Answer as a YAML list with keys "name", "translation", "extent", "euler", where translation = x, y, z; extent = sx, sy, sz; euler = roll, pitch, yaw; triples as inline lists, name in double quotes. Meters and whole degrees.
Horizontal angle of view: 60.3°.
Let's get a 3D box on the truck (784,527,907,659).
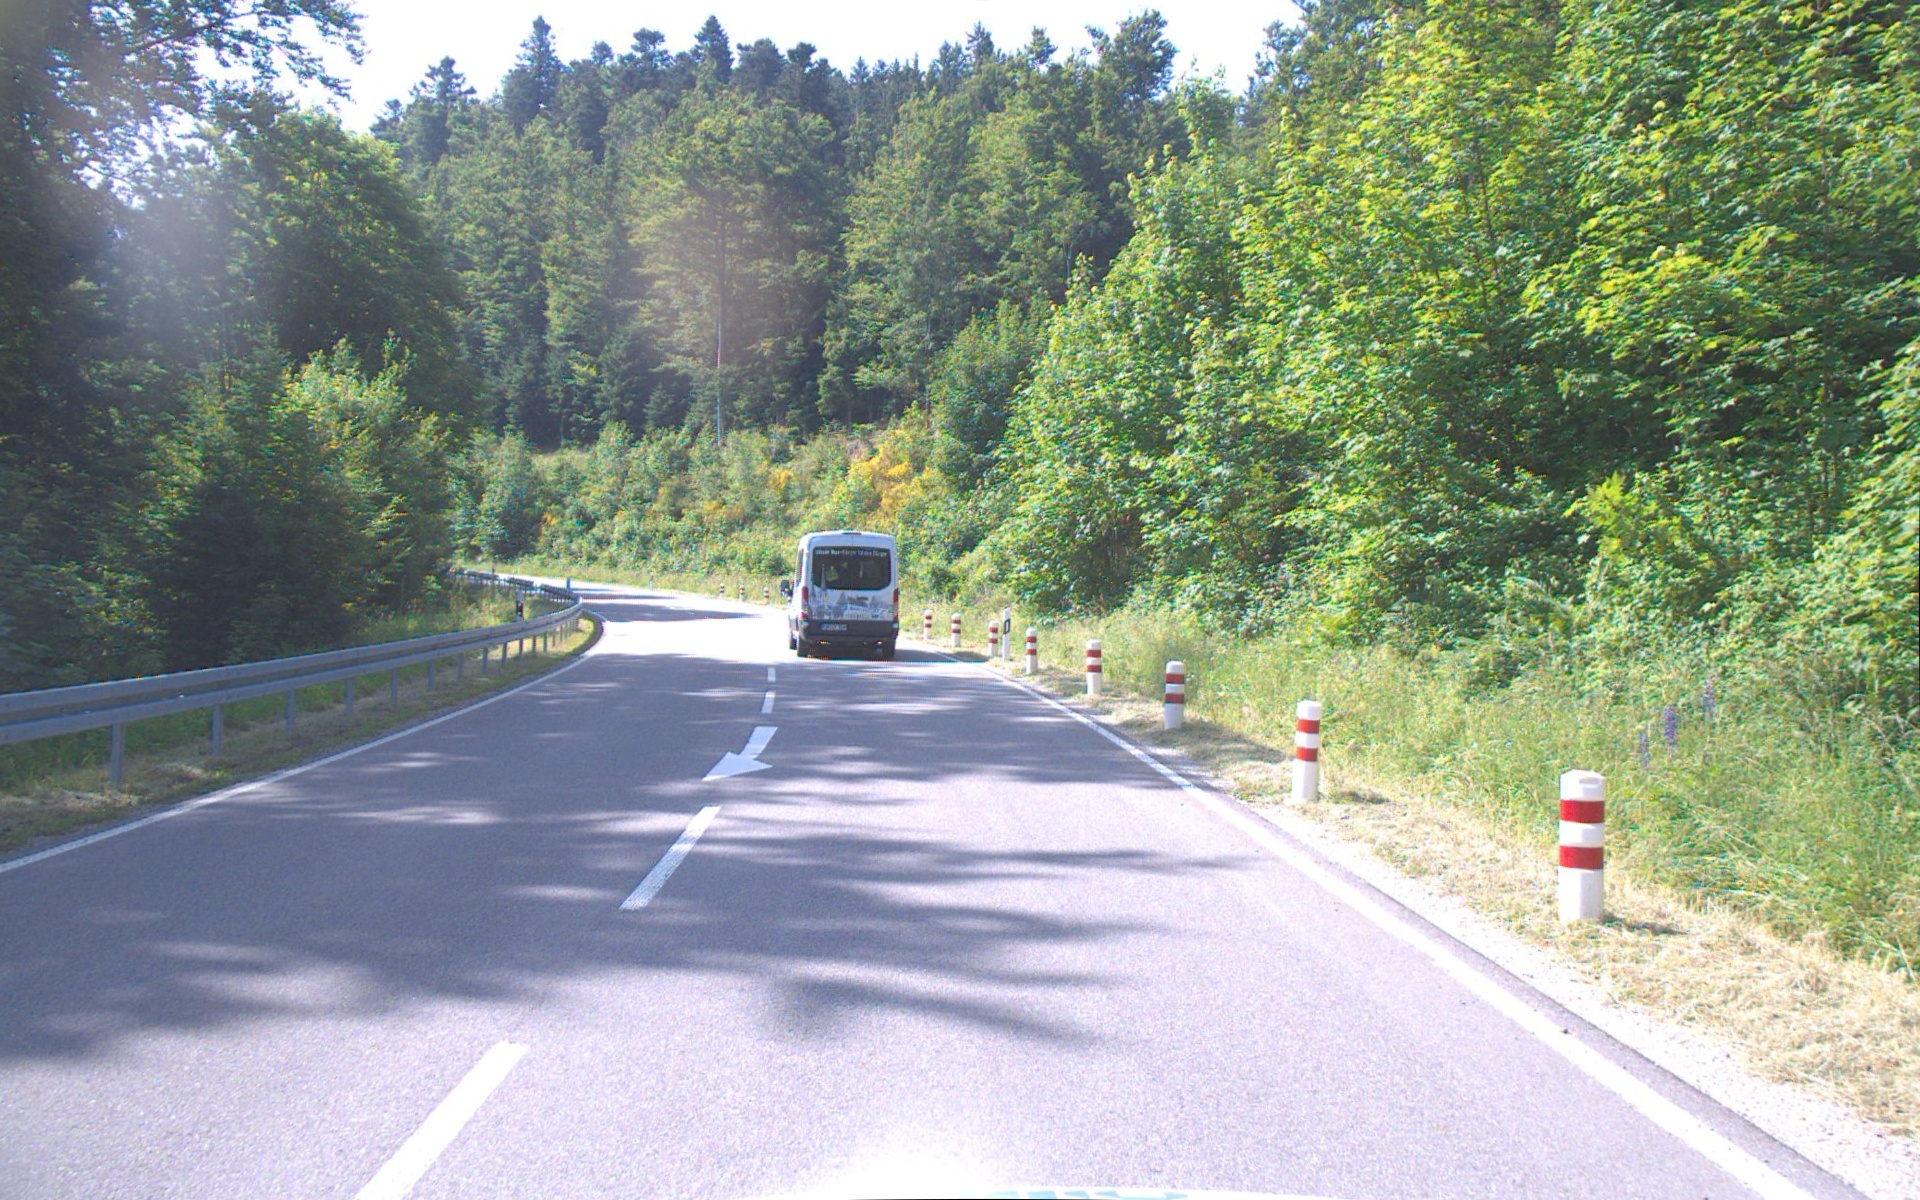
- name: "truck"
  translation: [-2.489, -0.165, 34.721]
  extent: [2.077, 2.542, 5.348]
  euler: [0, 1, -9]
